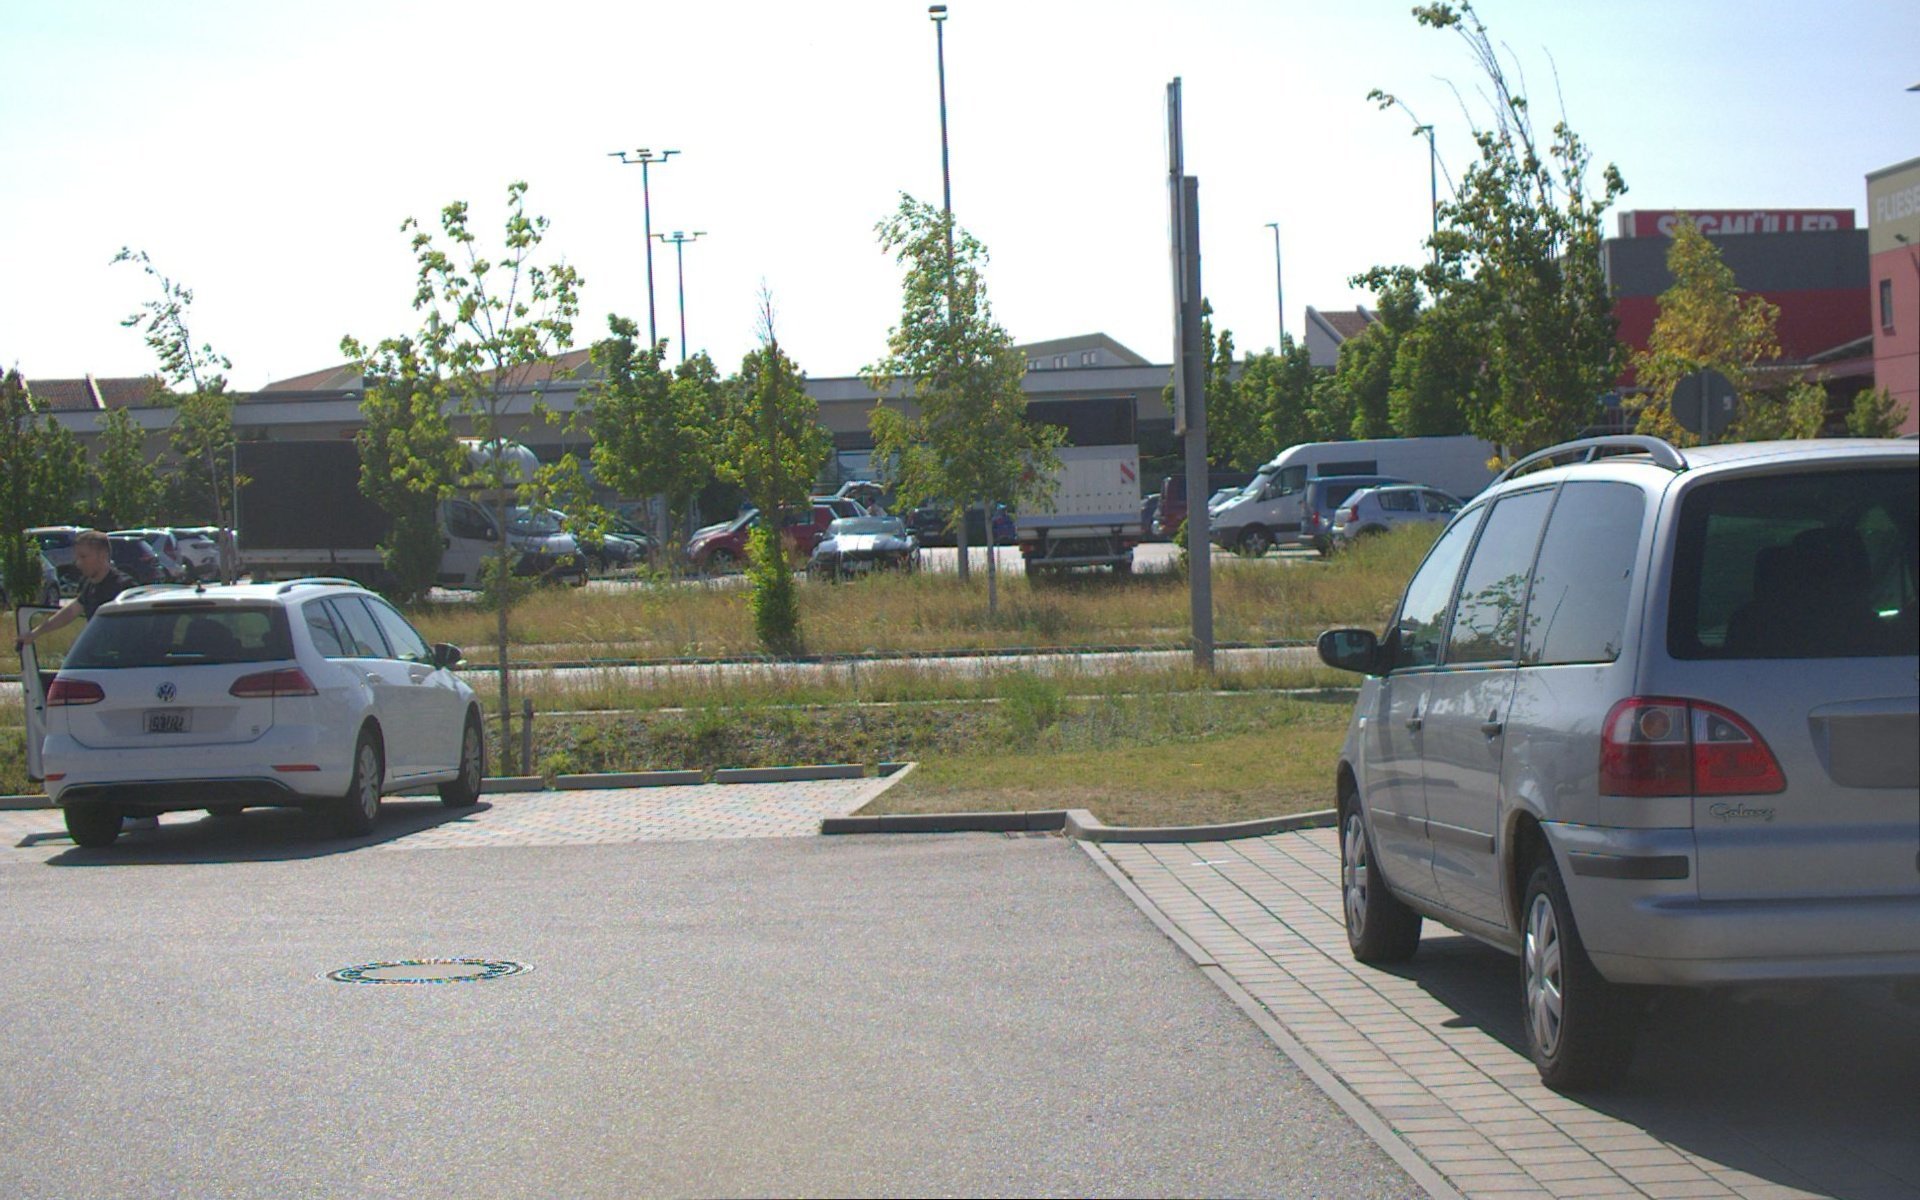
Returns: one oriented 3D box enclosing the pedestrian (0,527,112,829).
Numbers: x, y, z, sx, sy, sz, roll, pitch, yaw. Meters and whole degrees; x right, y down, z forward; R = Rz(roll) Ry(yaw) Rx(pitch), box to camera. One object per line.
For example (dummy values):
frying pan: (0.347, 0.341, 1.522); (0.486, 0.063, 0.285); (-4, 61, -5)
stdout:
pedestrian: (-5.793, 0.476, 21.124); (0.991, 1.803, 0.726); (-2, 0, -22)

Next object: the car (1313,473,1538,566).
car: (9.848, -1.704, 72.966); (4.389, 1.849, 1.956); (-1, 1, -3)

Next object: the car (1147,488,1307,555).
car: (7.764, -2.294, 100.306); (4.389, 1.849, 1.956); (-1, 1, -3)

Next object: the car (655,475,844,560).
car: (-4.854, -1.901, 79.326); (4.253, 1.849, 1.870); (-1, 1, -3)

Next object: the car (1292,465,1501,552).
car: (9.903, -2.075, 78.123); (4.389, 1.849, 1.956); (-1, 1, -3)

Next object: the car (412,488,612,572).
car: (-11.354, -1.787, 87.219); (4.915, 2.007, 2.083); (-1, 1, -7)

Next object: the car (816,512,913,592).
car: (-1.819, -0.947, 66.476); (1.650, 1.454, 3.967); (-1, 1, 1)

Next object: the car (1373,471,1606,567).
car: (10.834, -1.668, 70.532); (4.389, 1.849, 1.956); (-1, 1, -3)

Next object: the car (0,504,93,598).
car: (-19.488, -0.976, 68.825); (1.951, 1.849, 4.400); (-1, 1, 20)

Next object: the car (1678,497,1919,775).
car: (6.481, 0.168, 19.359); (4.329, 1.521, 1.971); (0, 2, 41)

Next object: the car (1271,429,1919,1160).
car: (2.275, 0.411, 10.692); (1.827, 1.742, 4.684); (-2, 1, -4)

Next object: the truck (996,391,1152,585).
truck: (2.184, -2.125, 66.000); (2.759, 3.468, 6.832); (-1, 1, 2)

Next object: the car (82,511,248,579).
car: (-23.112, -1.608, 100.015); (4.389, 1.849, 1.956); (-1, 1, -3)

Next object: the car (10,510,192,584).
car: (-22.879, -1.419, 91.697); (4.389, 1.849, 1.956); (-1, 1, -3)

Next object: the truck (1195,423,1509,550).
truck: (9.168, -2.658, 80.750); (7.034, 2.805, 1.956); (-1, 1, -3)

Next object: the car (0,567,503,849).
car: (-4.148, 0.574, 20.732); (1.827, 1.464, 4.481); (-2, 0, 4)

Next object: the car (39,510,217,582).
car: (-22.742, -1.478, 94.088); (4.389, 1.849, 1.956); (-1, 1, -3)

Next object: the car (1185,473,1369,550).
car: (8.079, -2.261, 87.805); (4.389, 1.849, 1.956); (-1, 1, -3)

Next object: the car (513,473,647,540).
car: (-12.003, -2.967, 108.850); (3.987, 2.007, 2.000); (-1, 1, 0)

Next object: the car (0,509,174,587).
car: (-22.267, -1.320, 86.820); (4.389, 1.849, 1.956); (-1, 1, -3)

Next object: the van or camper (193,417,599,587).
van or camper: (-11.055, -1.865, 67.069); (8.042, 3.091, 2.415); (0, 1, 30)
